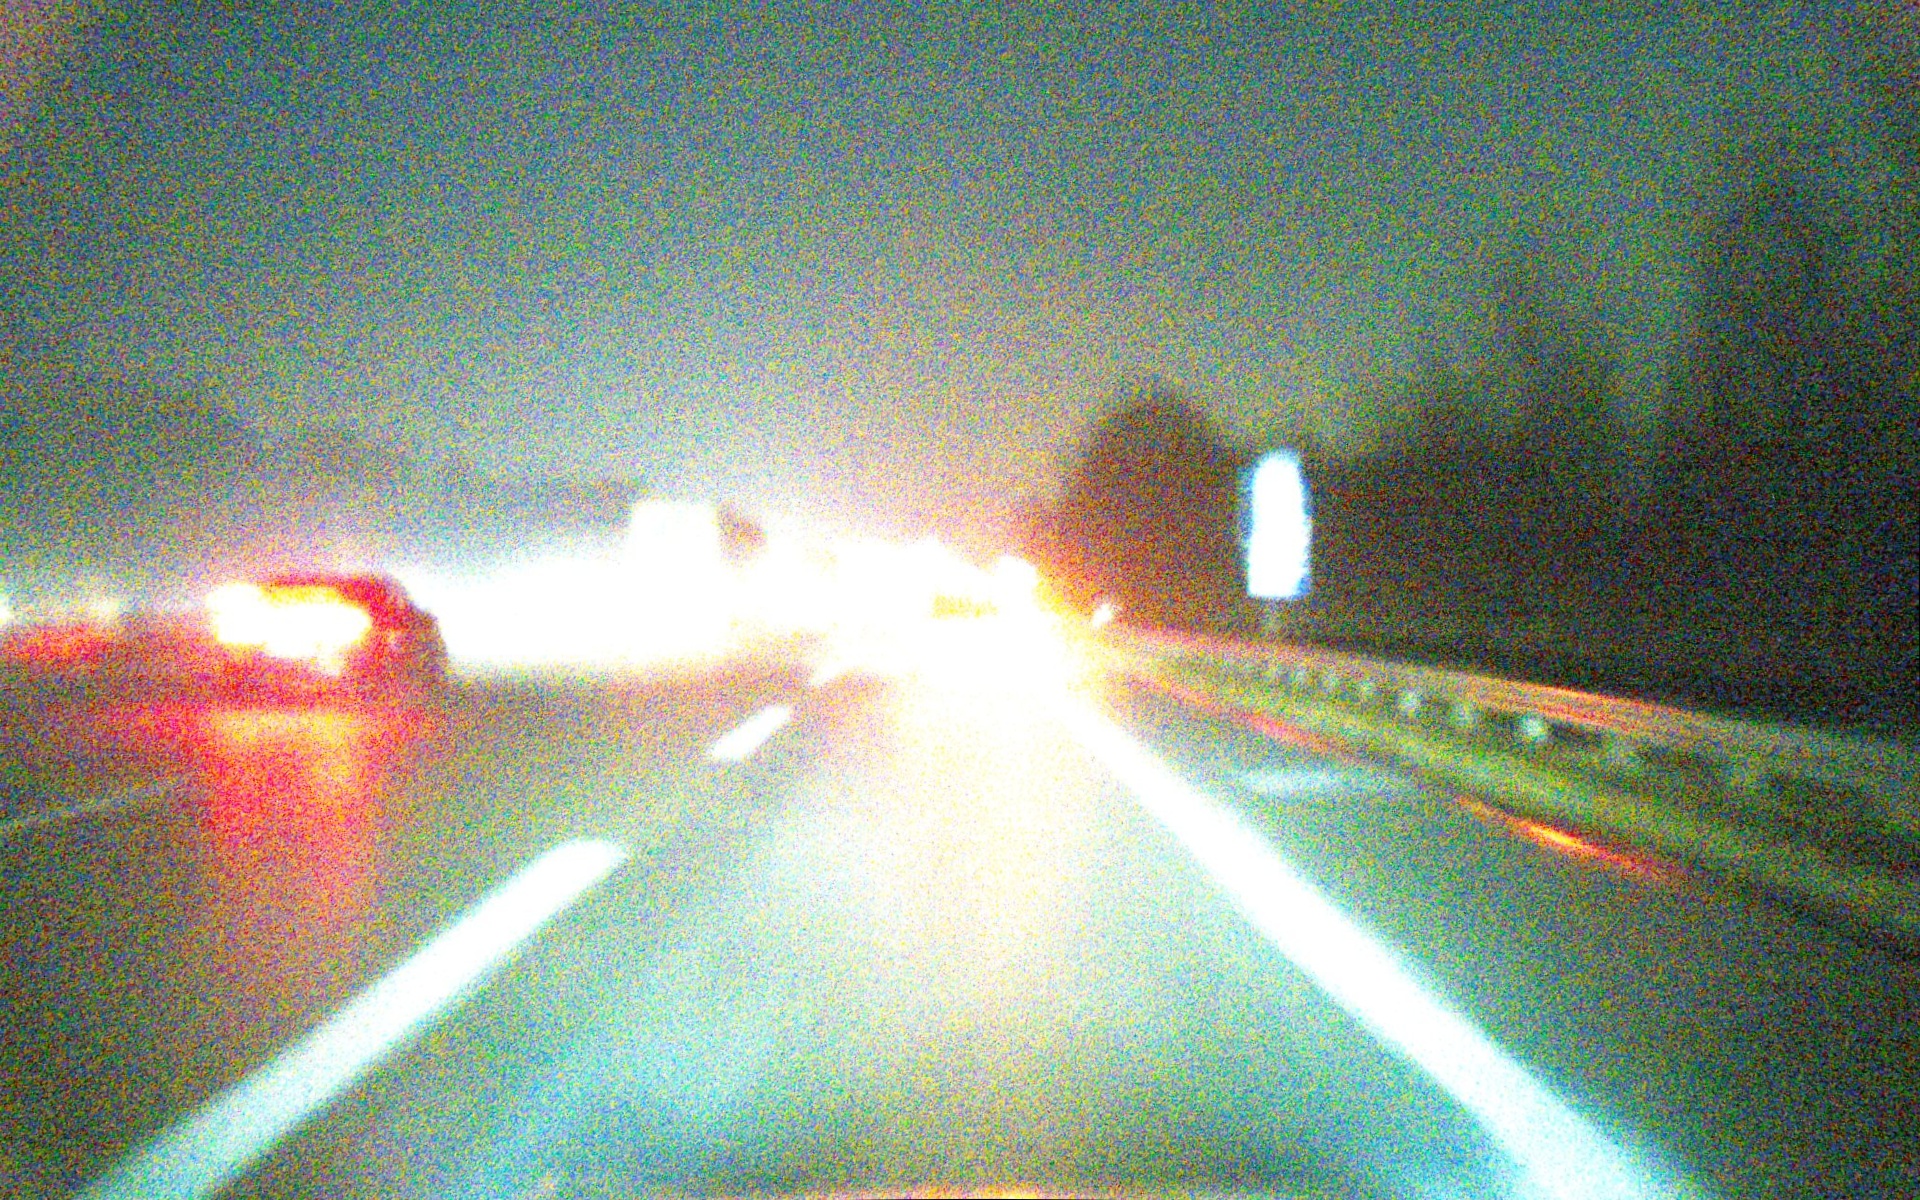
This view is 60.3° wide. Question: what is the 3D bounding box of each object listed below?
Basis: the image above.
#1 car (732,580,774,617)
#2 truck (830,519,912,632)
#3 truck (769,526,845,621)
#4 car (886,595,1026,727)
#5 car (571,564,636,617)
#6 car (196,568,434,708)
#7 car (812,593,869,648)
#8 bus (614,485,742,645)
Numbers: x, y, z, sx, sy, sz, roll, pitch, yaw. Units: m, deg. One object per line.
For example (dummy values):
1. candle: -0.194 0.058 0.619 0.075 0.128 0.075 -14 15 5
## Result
1. car: -10.834 -0.062 86.933 1.954 1.839 3.996 1 0 -4
2. truck: -4.754 -1.248 90.844 4.125 5.747 11.462 1 0 -2
3. truck: -9.697 -1.582 106.291 4.125 5.747 11.462 1 0 -2
4. car: -0.105 0.872 25.512 1.953 1.839 3.999 1 0 -2
5. car: -12.805 -0.316 59.610 1.956 1.825 3.993 1 0 -8
6. car: -8.222 0.453 21.483 1.956 1.624 3.993 1 0 -8
7. car: -4.626 0.780 64.244 2.084 2.049 4.642 1 0 -4
8. bus: -8.843 -0.990 53.172 3.036 4.587 10.902 1 0 -5
